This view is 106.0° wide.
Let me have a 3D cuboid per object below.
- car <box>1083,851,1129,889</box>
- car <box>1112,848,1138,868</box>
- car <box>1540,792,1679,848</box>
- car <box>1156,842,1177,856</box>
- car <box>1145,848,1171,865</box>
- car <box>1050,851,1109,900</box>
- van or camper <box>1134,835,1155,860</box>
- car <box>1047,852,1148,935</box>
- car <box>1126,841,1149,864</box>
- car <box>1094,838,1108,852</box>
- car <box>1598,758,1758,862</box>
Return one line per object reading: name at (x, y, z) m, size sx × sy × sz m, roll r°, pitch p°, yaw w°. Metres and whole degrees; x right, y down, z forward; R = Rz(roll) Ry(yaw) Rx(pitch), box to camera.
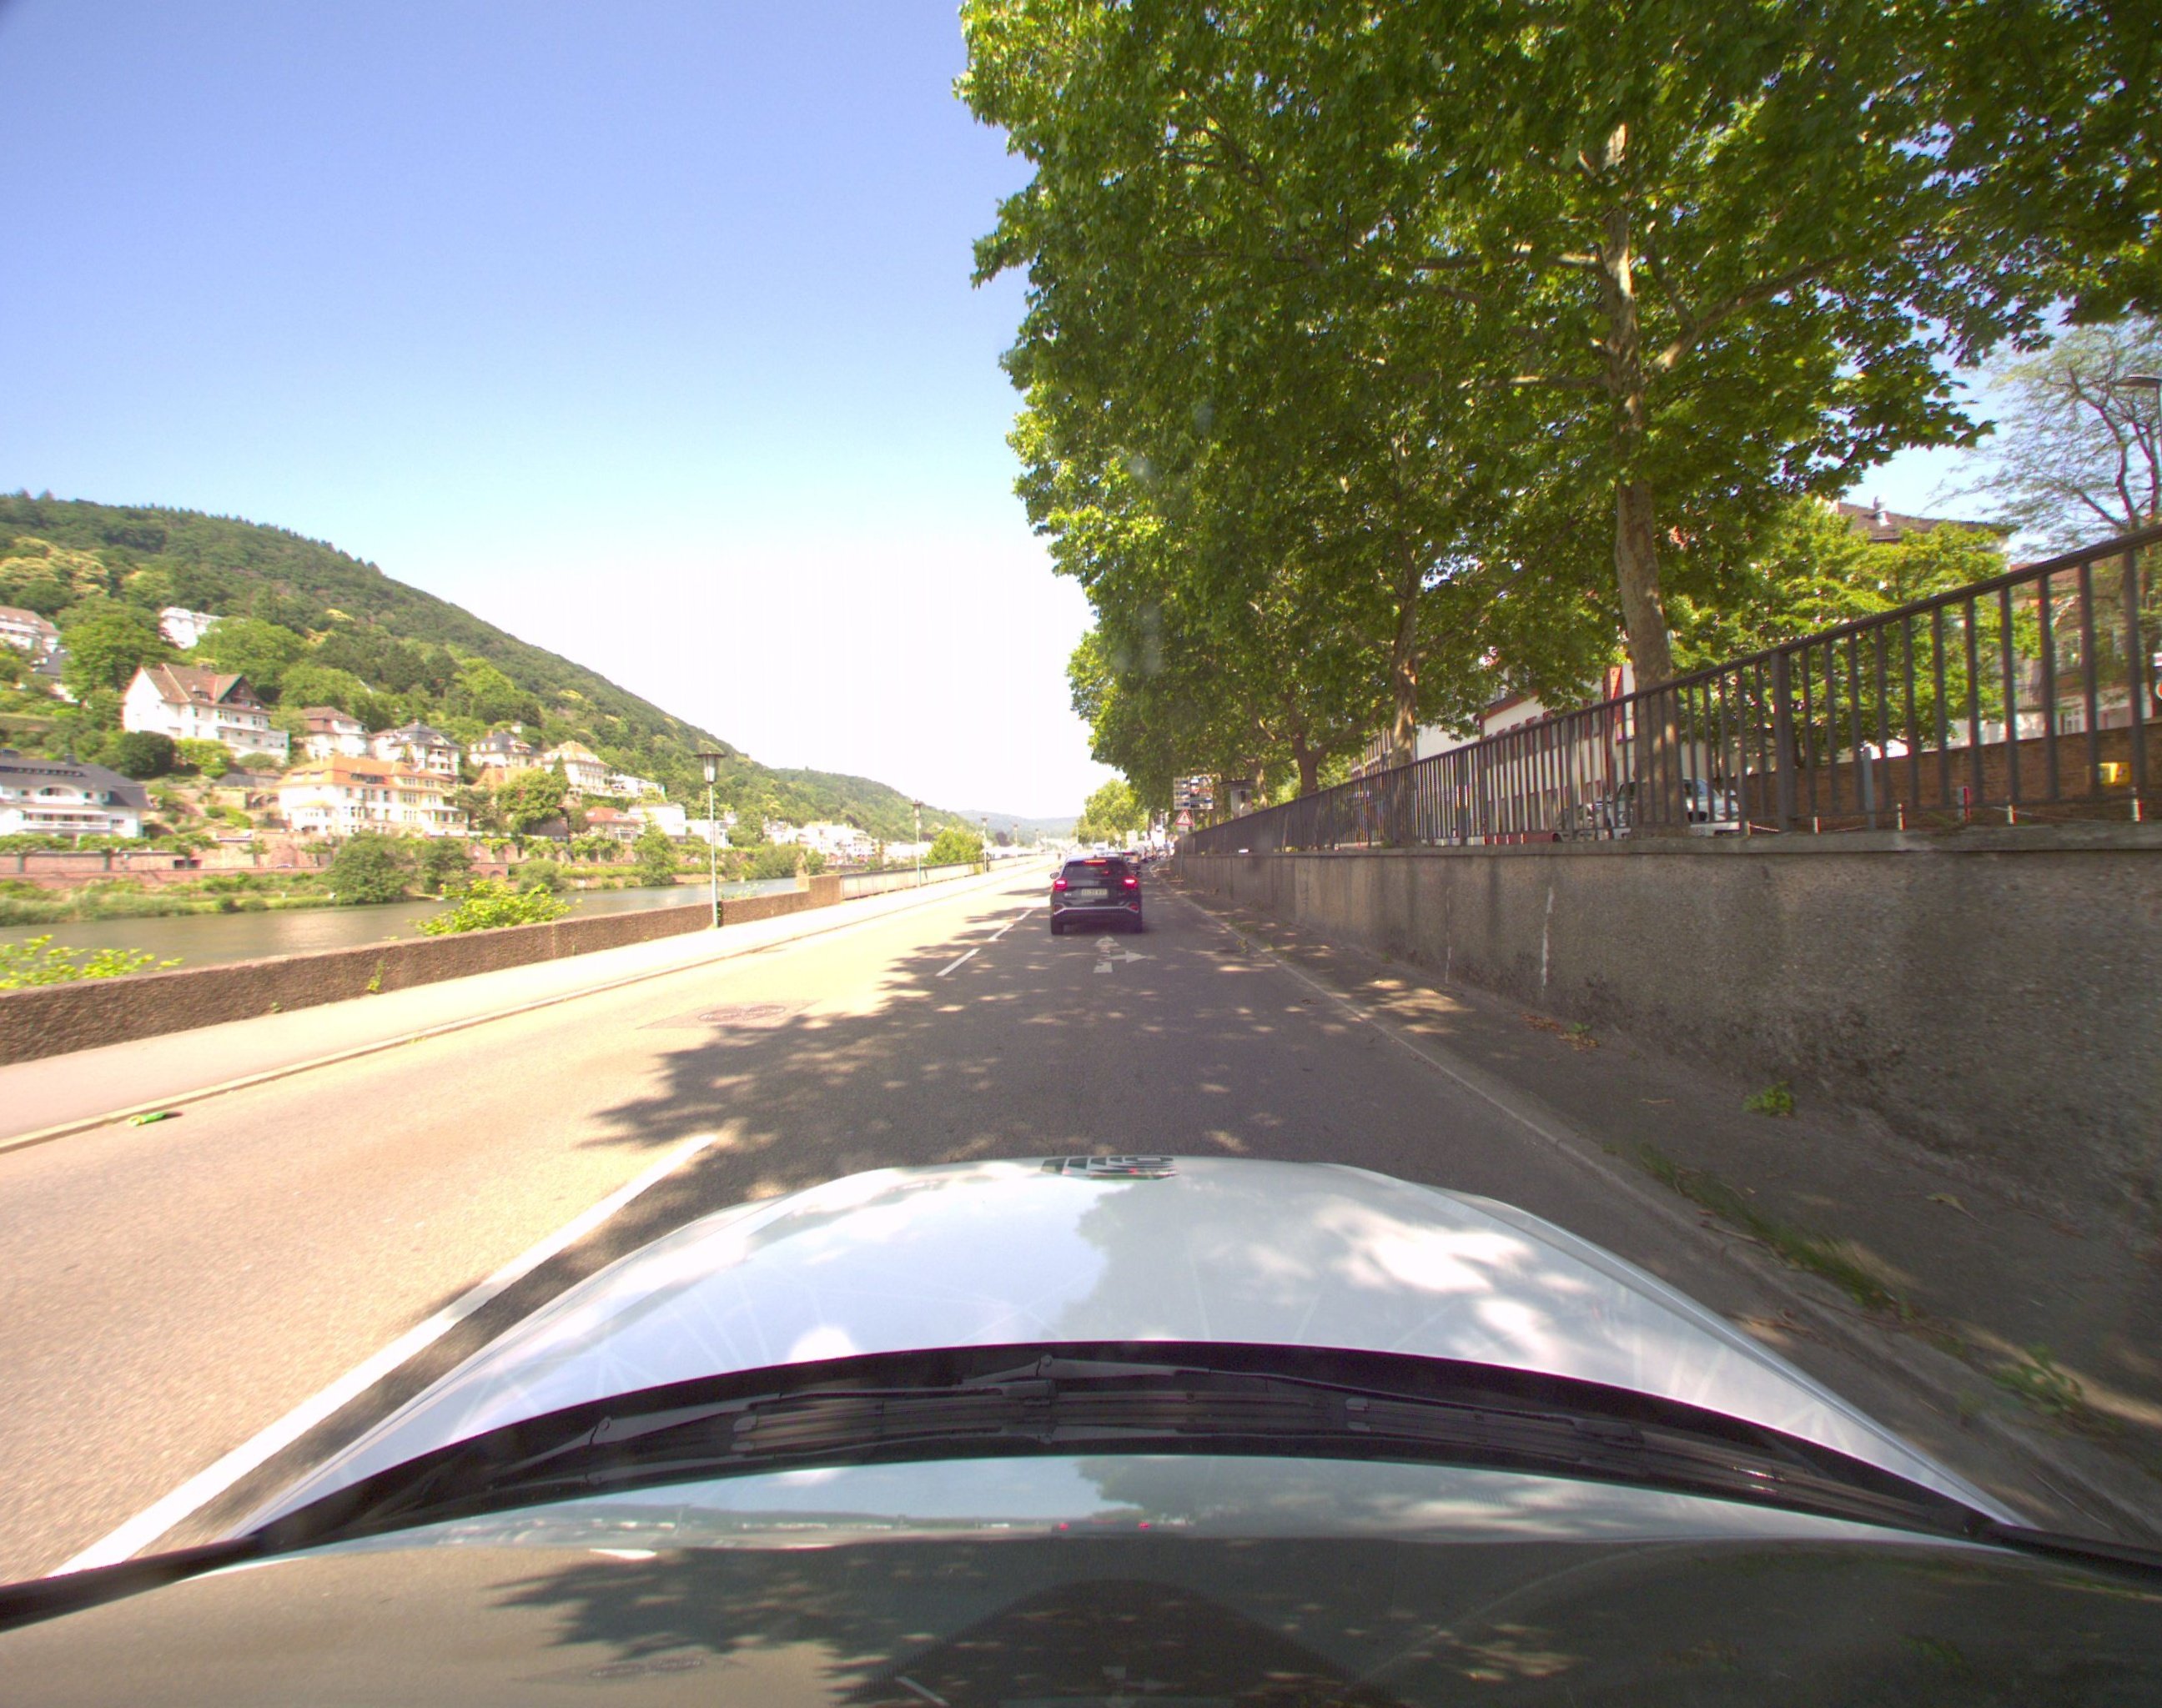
car at (1.039, 0.645, 34.761) m, size 1.822 × 1.486 × 4.001 m, roll -1°, pitch 0°, yaw 1°
car at (3.335, 0.300, 61.925) m, size 1.822 × 1.444 × 4.001 m, roll -1°, pitch 0°, yaw 1°
car at (15.912, -0.970, 24.760) m, size 1.866 × 1.427 × 3.721 m, roll -5°, pitch 0°, yaw 3°
car at (13.511, -0.756, 128.718) m, size 2.652 × 2.013 × 5.826 m, roll -5°, pitch 0°, yaw 1°
car at (10.941, 0.298, 116.048) m, size 3.087 × 2.013 × 5.826 m, roll -6°, pitch 0°, yaw 1°
car at (0.010, 0.668, 27.707) m, size 1.822 × 1.511 × 4.001 m, roll -1°, pitch 0°, yaw 1°
van or camper at (7.740, -0.782, 100.198) m, size 2.300 × 2.847 × 4.249 m, roll -5°, pitch 0°, yaw 3°
car at (0.358, 0.722, 16.996) m, size 1.822 × 1.486 × 4.001 m, roll -1°, pitch 0°, yaw 1°
car at (6.040, -0.192, 86.728) m, size 1.983 × 2.169 × 4.009 m, roll -5°, pitch 0°, yaw 7°
car at (3.134, -1.323, 127.556) m, size 1.986 × 2.013 × 4.001 m, roll -5°, pitch 0°, yaw 1°
car at (9.947, -0.655, 13.856) m, size 1.757 × 1.469 × 4.025 m, roll -1°, pitch 0°, yaw 30°
